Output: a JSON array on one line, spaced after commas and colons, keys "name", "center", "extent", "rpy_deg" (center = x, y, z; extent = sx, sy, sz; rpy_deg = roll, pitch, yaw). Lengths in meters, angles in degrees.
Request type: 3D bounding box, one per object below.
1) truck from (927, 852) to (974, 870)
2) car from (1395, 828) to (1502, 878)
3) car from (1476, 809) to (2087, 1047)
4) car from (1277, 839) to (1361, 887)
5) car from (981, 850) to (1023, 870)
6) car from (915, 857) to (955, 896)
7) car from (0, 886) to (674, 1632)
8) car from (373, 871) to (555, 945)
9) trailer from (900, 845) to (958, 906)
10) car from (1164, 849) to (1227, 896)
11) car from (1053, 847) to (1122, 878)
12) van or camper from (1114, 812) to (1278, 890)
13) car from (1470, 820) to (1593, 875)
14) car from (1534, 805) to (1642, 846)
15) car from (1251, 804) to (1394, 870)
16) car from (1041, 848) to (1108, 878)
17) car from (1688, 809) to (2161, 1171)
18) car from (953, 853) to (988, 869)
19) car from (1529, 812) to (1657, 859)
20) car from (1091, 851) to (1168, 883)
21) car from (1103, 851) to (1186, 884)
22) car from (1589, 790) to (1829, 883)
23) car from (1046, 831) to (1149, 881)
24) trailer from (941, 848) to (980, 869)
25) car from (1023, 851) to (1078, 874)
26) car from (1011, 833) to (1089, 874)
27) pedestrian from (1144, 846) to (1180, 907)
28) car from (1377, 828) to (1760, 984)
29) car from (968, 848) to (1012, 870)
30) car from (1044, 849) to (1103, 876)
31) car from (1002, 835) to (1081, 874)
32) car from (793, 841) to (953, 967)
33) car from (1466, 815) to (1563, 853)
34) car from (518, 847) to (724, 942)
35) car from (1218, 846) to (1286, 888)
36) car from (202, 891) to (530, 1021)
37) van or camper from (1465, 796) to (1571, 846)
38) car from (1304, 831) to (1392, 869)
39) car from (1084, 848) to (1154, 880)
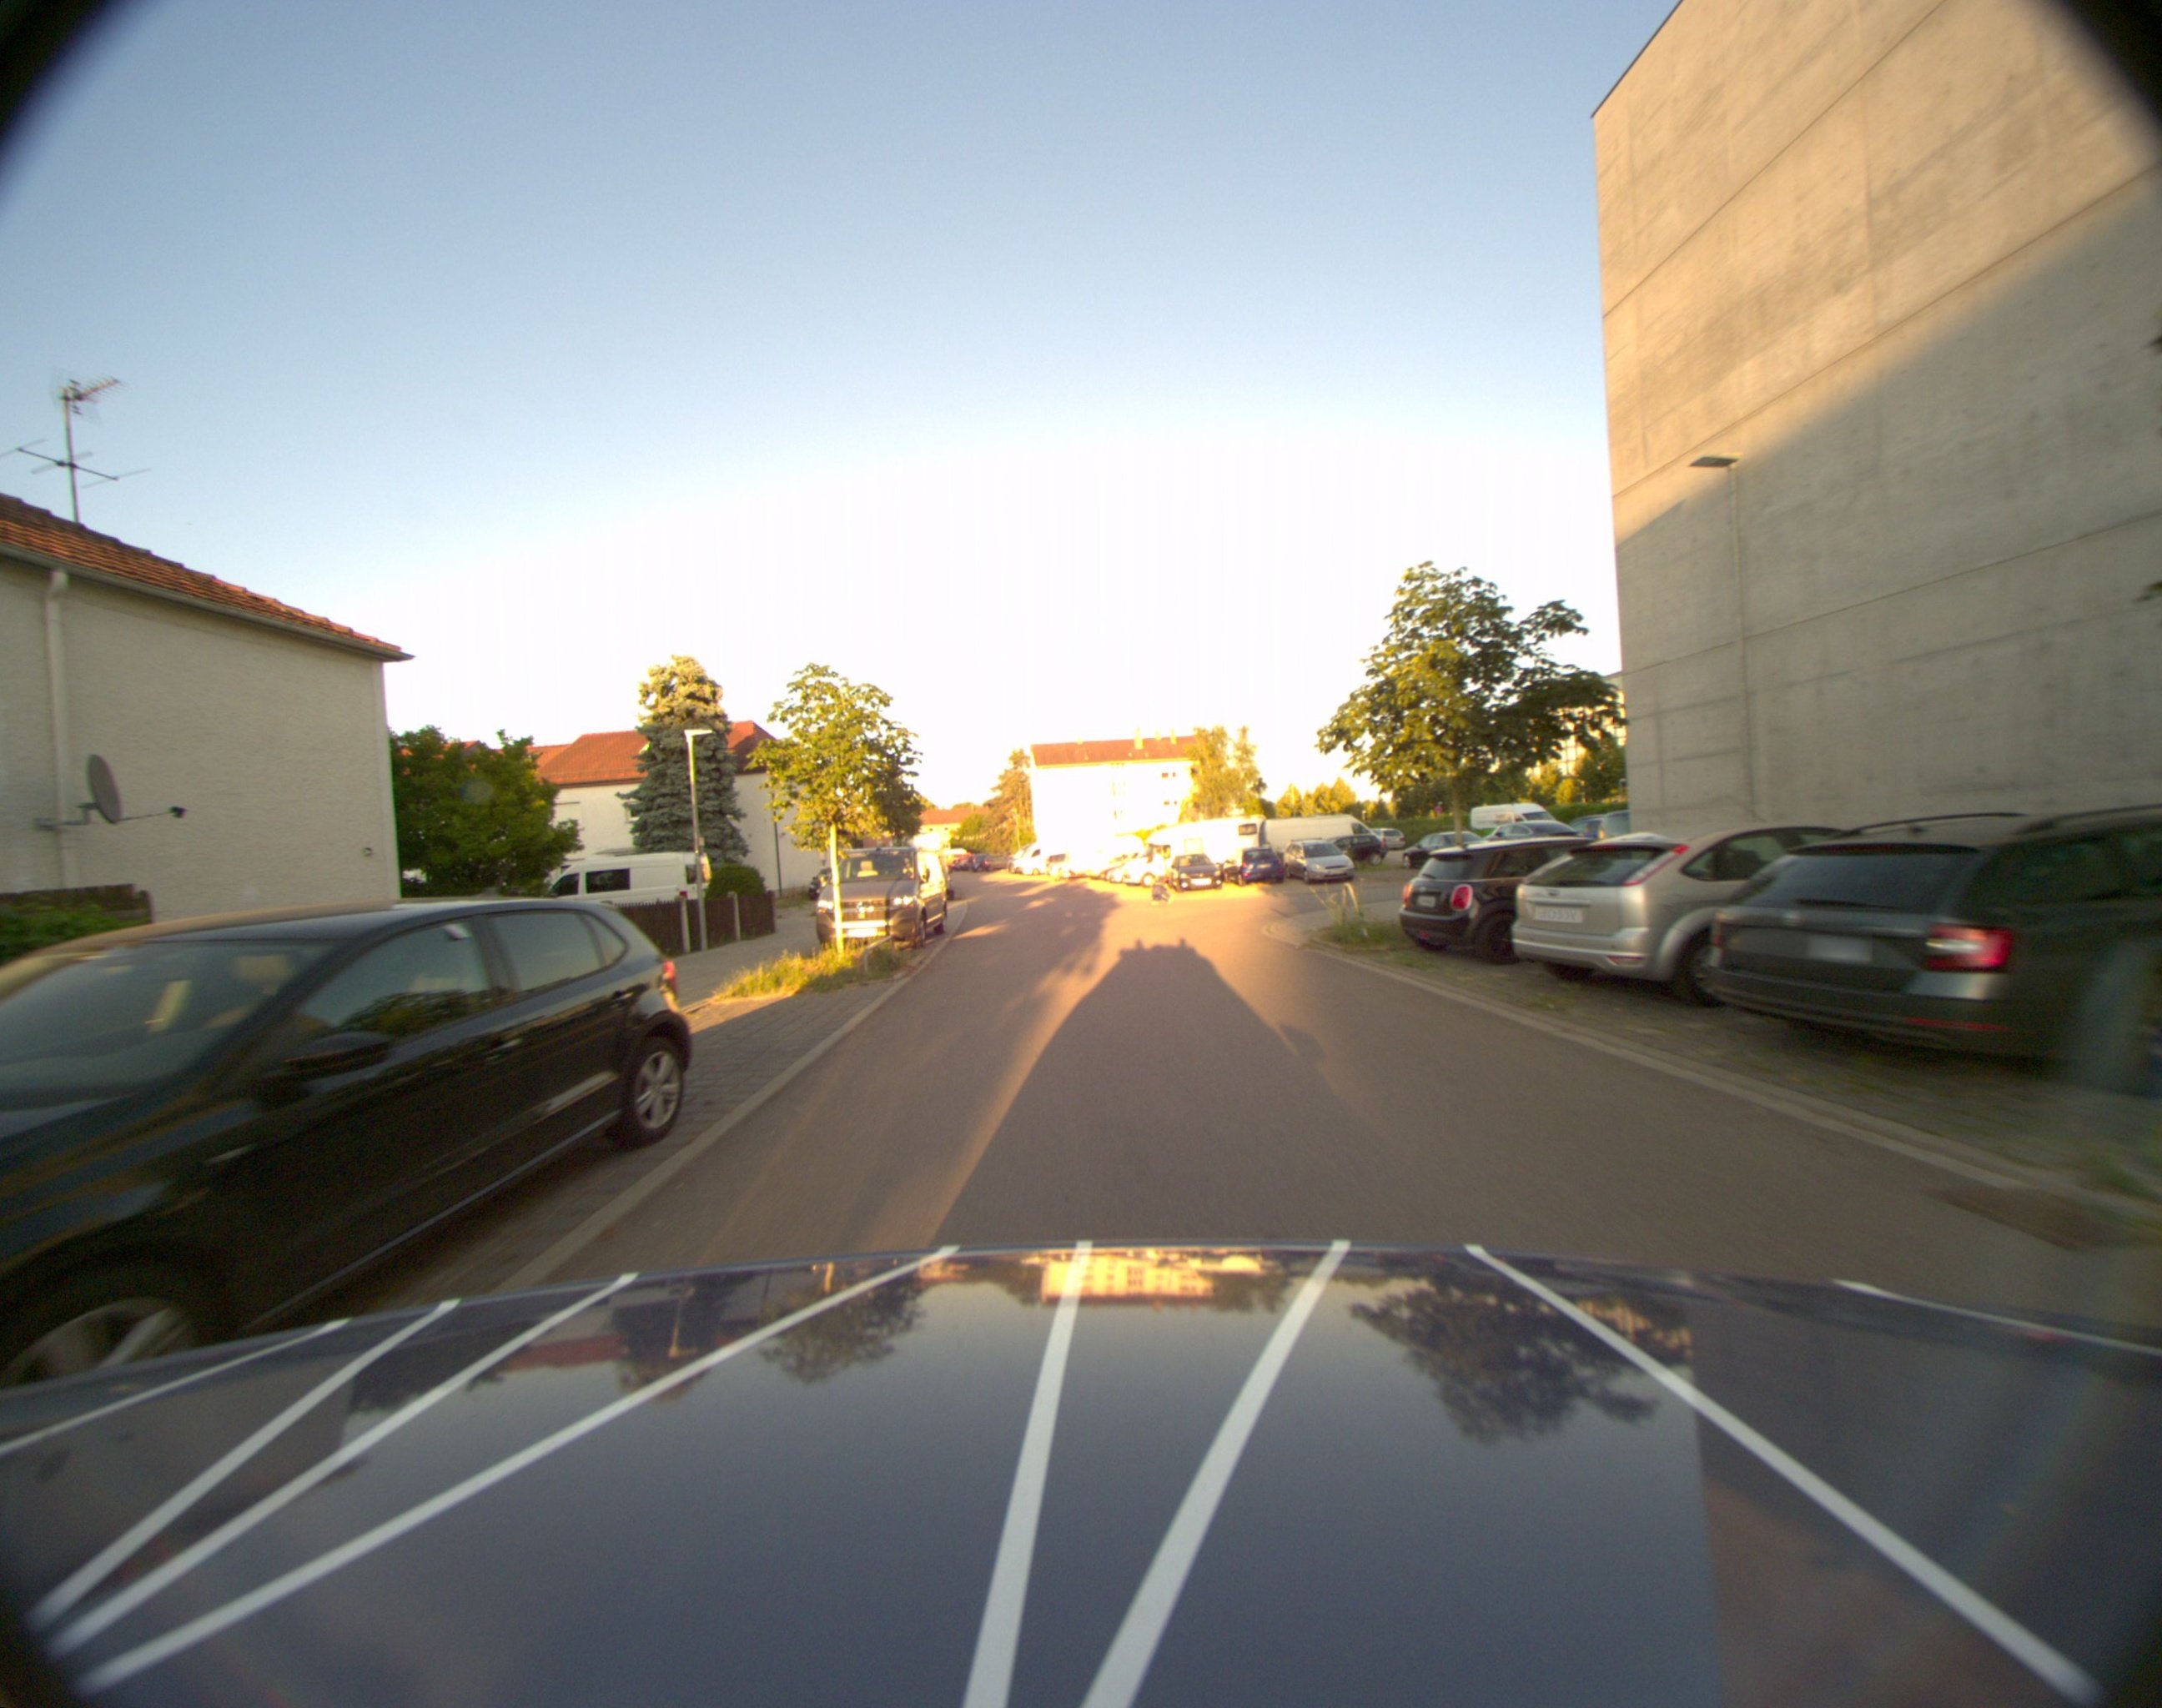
[{"name": "truck", "center": [-18.309, 0.997, 106.743], "extent": [6.035, 2.031, 2.352], "rpy_deg": [-4, 1, -18]}, {"name": "car", "center": [13.816, -0.111, 28.853], "extent": [1.667, 1.472, 4.401], "rpy_deg": [-5, 4, -3]}, {"name": "car", "center": [6.213, 0.566, 7.042], "extent": [4.098, 1.520, 1.845], "rpy_deg": [-5, 1, -6]}, {"name": "car", "center": [8.949, 0.266, 28.954], "extent": [1.667, 1.472, 4.201], "rpy_deg": [-6, 2, -1]}, {"name": "car", "center": [-8.002, 0.578, 77.008], "extent": [3.939, 1.643, 1.746], "rpy_deg": [-6, 1, -13]}, {"name": "car", "center": [-7.549, 1.100, 39.643], "extent": [1.777, 1.820, 4.405], "rpy_deg": [-3, 0, -8]}, {"name": "car", "center": [-3.306, 1.008, 2.599], "extent": [1.744, 1.543, 3.640], "rpy_deg": [-3, 0, 1]}, {"name": "car", "center": [-24.179, 2.086, 29.888], "extent": [5.456, 2.430, 2.054], "rpy_deg": [-4, -1, 3]}, {"name": "trailer", "center": [-6.289, 0.831, 31.703], "extent": [2.071, 2.198, 5.218], "rpy_deg": [-3, 0, -10]}, {"name": "car", "center": [4.403, 0.650, 29.823], "extent": [1.691, 1.510, 4.360], "rpy_deg": [-5, 1, 0]}, {"name": "car", "center": [0.423, 0.540, 49.984], "extent": [4.140, 1.582, 1.746], "rpy_deg": [-6, 2, -13]}, {"name": "van or camper", "center": [5.108, -0.141, 34.346], "extent": [6.761, 2.881, 2.407], "rpy_deg": [-5, 1, -7]}, {"name": "car", "center": [16.322, -0.318, 27.799], "extent": [1.667, 1.613, 4.401], "rpy_deg": [-5, 4, -3]}, {"name": "car", "center": [22.913, -1.237, 34.561], "extent": [1.667, 1.612, 4.404], "rpy_deg": [-5, 1, -3]}, {"name": "car", "center": [12.034, -0.837, 38.079], "extent": [6.260, 2.658, 2.222], "rpy_deg": [-5, 1, -6]}, {"name": "car", "center": [-0.437, 0.583, 52.103], "extent": [4.141, 1.582, 1.746], "rpy_deg": [-6, 2, -15]}, {"name": "car", "center": [6.205, 0.557, 4.507], "extent": [4.009, 1.503, 1.584], "rpy_deg": [-5, -1, -6]}, {"name": "car", "center": [-13.950, 0.872, 95.770], "extent": [4.050, 1.610, 1.847], "rpy_deg": [-4, 1, -12]}, {"name": "car", "center": [19.312, -0.761, 28.914], "extent": [1.667, 1.492, 4.401], "rpy_deg": [-5, 4, -3]}, {"name": "car", "center": [2.652, 0.696, 41.818], "extent": [3.739, 1.359, 1.703], "rpy_deg": [-5, 1, -14]}, {"name": "car", "center": [3.263, 0.674, 39.182], "extent": [3.821, 1.321, 1.691], "rpy_deg": [-5, 1, -13]}, {"name": "car", "center": [14.847, -0.383, 18.134], "extent": [4.096, 1.820, 1.848], "rpy_deg": [-4, -1, -1]}, {"name": "car", "center": [0.976, 0.088, 47.624], "extent": [5.907, 2.520, 2.409], "rpy_deg": [-6, 2, -11]}, {"name": "trailer", "center": [-16.557, 0.543, 104.219], "extent": [4.809, 2.419, 2.131], "rpy_deg": [-5, 3, -15]}, {"name": "car", "center": [-2.435, 0.652, 59.745], "extent": [3.940, 1.499, 1.787], "rpy_deg": [-5, 1, -15]}, {"name": "car", "center": [-2.569, -0.045, 62.352], "extent": [5.847, 2.697, 2.048], "rpy_deg": [-6, 1, -18]}, {"name": "pedestrian", "center": [2.553, 0.697, 24.050], "extent": [0.901, 1.839, 0.856], "rpy_deg": [-3, 0, -2]}, {"name": "car", "center": [6.067, 0.603, 9.730], "extent": [3.745, 1.473, 1.769], "rpy_deg": [-5, 0, -5]}, {"name": "car", "center": [-9.457, 0.544, 79.070], "extent": [3.942, 1.900, 1.744], "rpy_deg": [-6, 1, -29]}, {"name": "car", "center": [-0.569, 0.604, 54.517], "extent": [3.938, 1.581, 1.747], "rpy_deg": [-5, 1, -8]}, {"name": "car", "center": [-3.445, 0.017, 66.611], "extent": [6.413, 2.698, 2.109], "rpy_deg": [-6, 3, -23]}, {"name": "car", "center": [-4.018, 0.865, 15.644], "extent": [2.071, 2.082, 4.871], "rpy_deg": [-3, 0, -3]}, {"name": "car", "center": [19.713, -0.869, 34.788], "extent": [1.667, 1.491, 4.404], "rpy_deg": [-5, 0, -3]}, {"name": "car", "center": [-15.360, 1.335, 25.555], "extent": [5.576, 2.676, 2.054], "rpy_deg": [-4, -1, 3]}, {"name": "car", "center": [6.678, 0.466, 29.975], "extent": [1.667, 1.414, 3.721], "rpy_deg": [-4, 1, -1]}, {"name": "car", "center": [-10.708, 1.430, 11.799], "extent": [1.532, 1.436, 3.640], "rpy_deg": [-3, 0, 1]}, {"name": "van or camper", "center": [27.120, -1.956, 47.527], "extent": [2.020, 2.675, 6.635], "rpy_deg": [-6, 1, -7]}, {"name": "car", "center": [12.390, -0.184, 35.351], "extent": [3.448, 1.439, 1.513], "rpy_deg": [-5, 1, -6]}, {"name": "car", "center": [2.189, 0.575, 44.430], "extent": [3.641, 1.510, 1.703], "rpy_deg": [-5, 1, -14]}]
